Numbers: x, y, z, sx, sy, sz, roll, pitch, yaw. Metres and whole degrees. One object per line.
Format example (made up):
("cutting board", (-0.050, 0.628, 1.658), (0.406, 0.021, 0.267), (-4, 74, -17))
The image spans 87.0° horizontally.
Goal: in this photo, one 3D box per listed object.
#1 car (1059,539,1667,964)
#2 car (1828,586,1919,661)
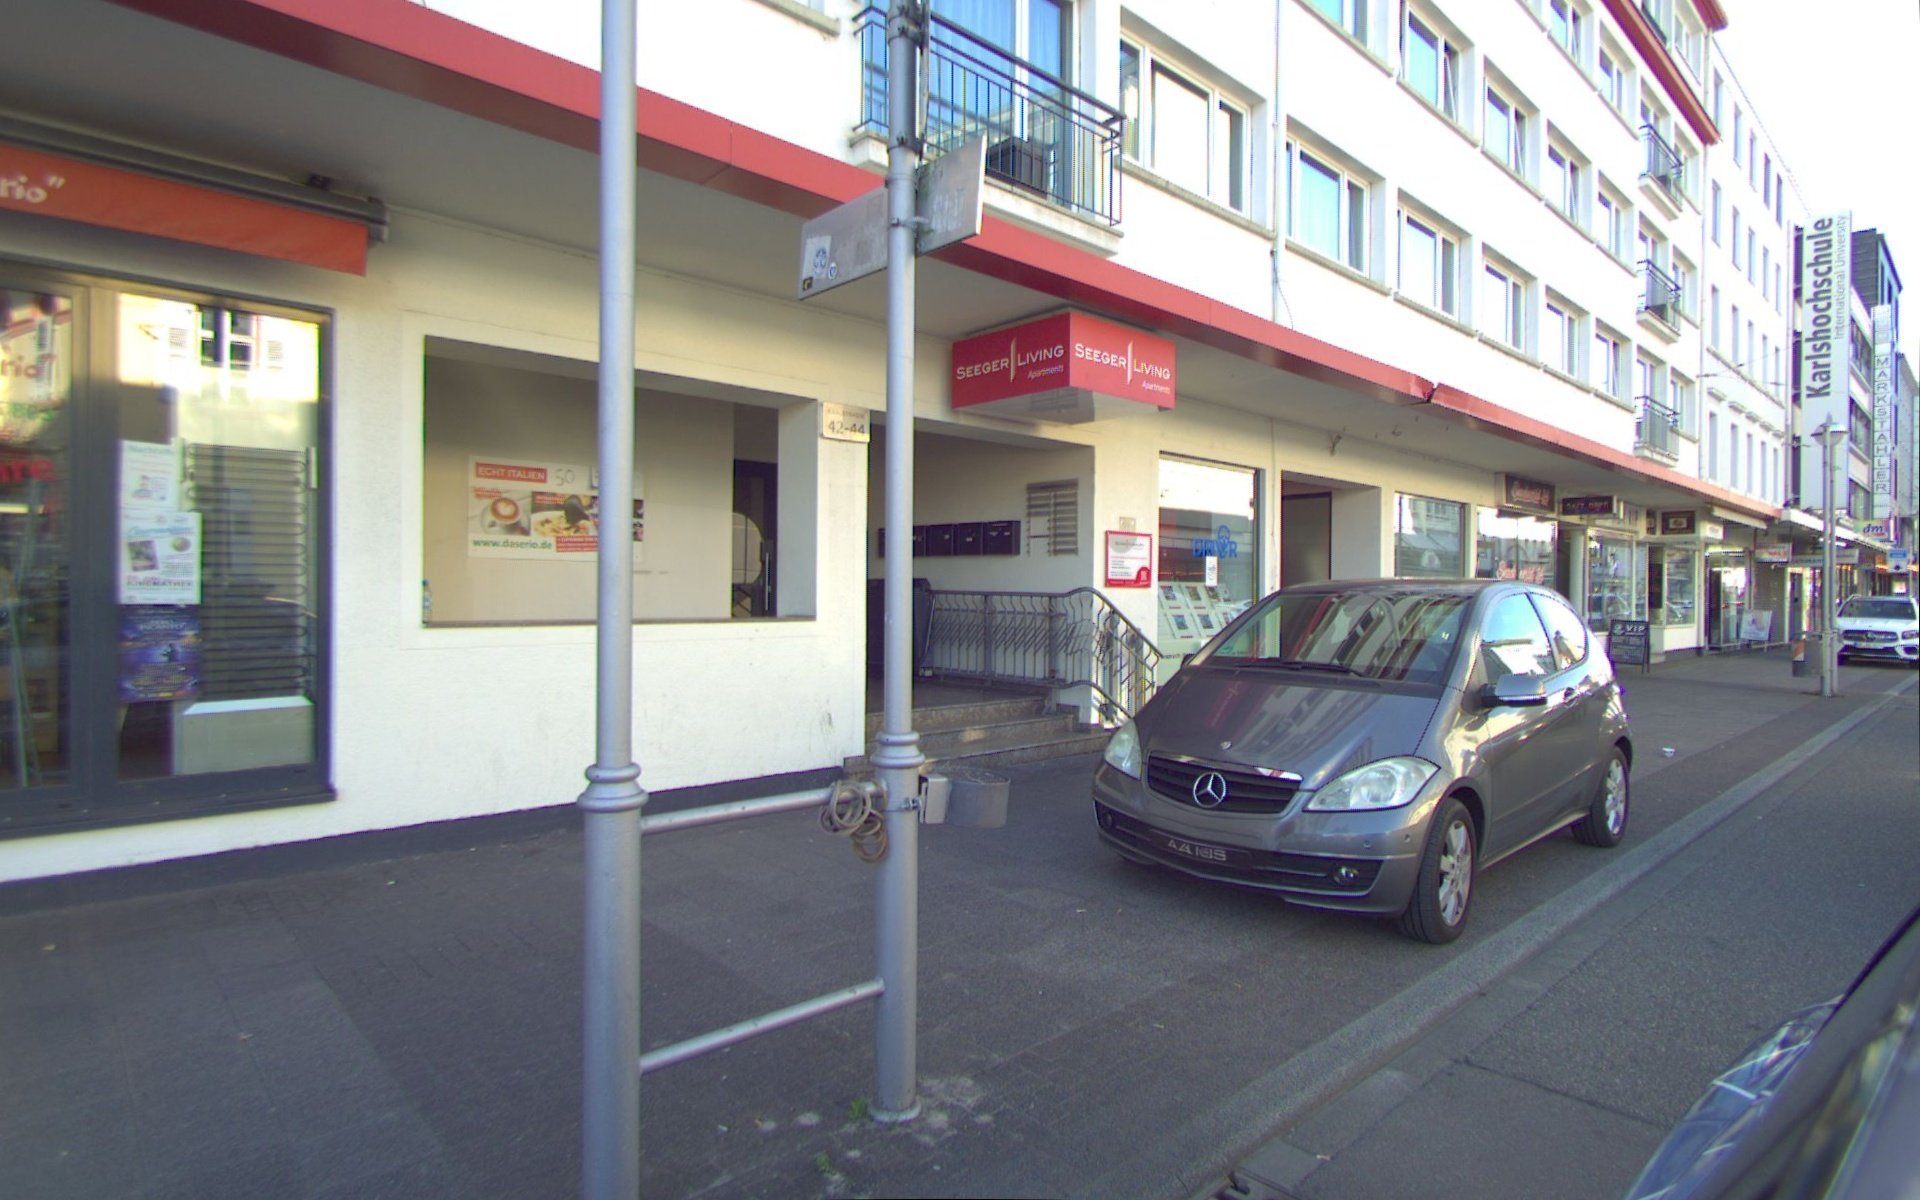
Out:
("car", (2.486, 0.560, 5.697), (3.932, 1.565, 1.681), (0, 0, -43))
("car", (22.391, 0.519, 24.353), (1.994, 1.650, 3.935), (1, 1, 45))
